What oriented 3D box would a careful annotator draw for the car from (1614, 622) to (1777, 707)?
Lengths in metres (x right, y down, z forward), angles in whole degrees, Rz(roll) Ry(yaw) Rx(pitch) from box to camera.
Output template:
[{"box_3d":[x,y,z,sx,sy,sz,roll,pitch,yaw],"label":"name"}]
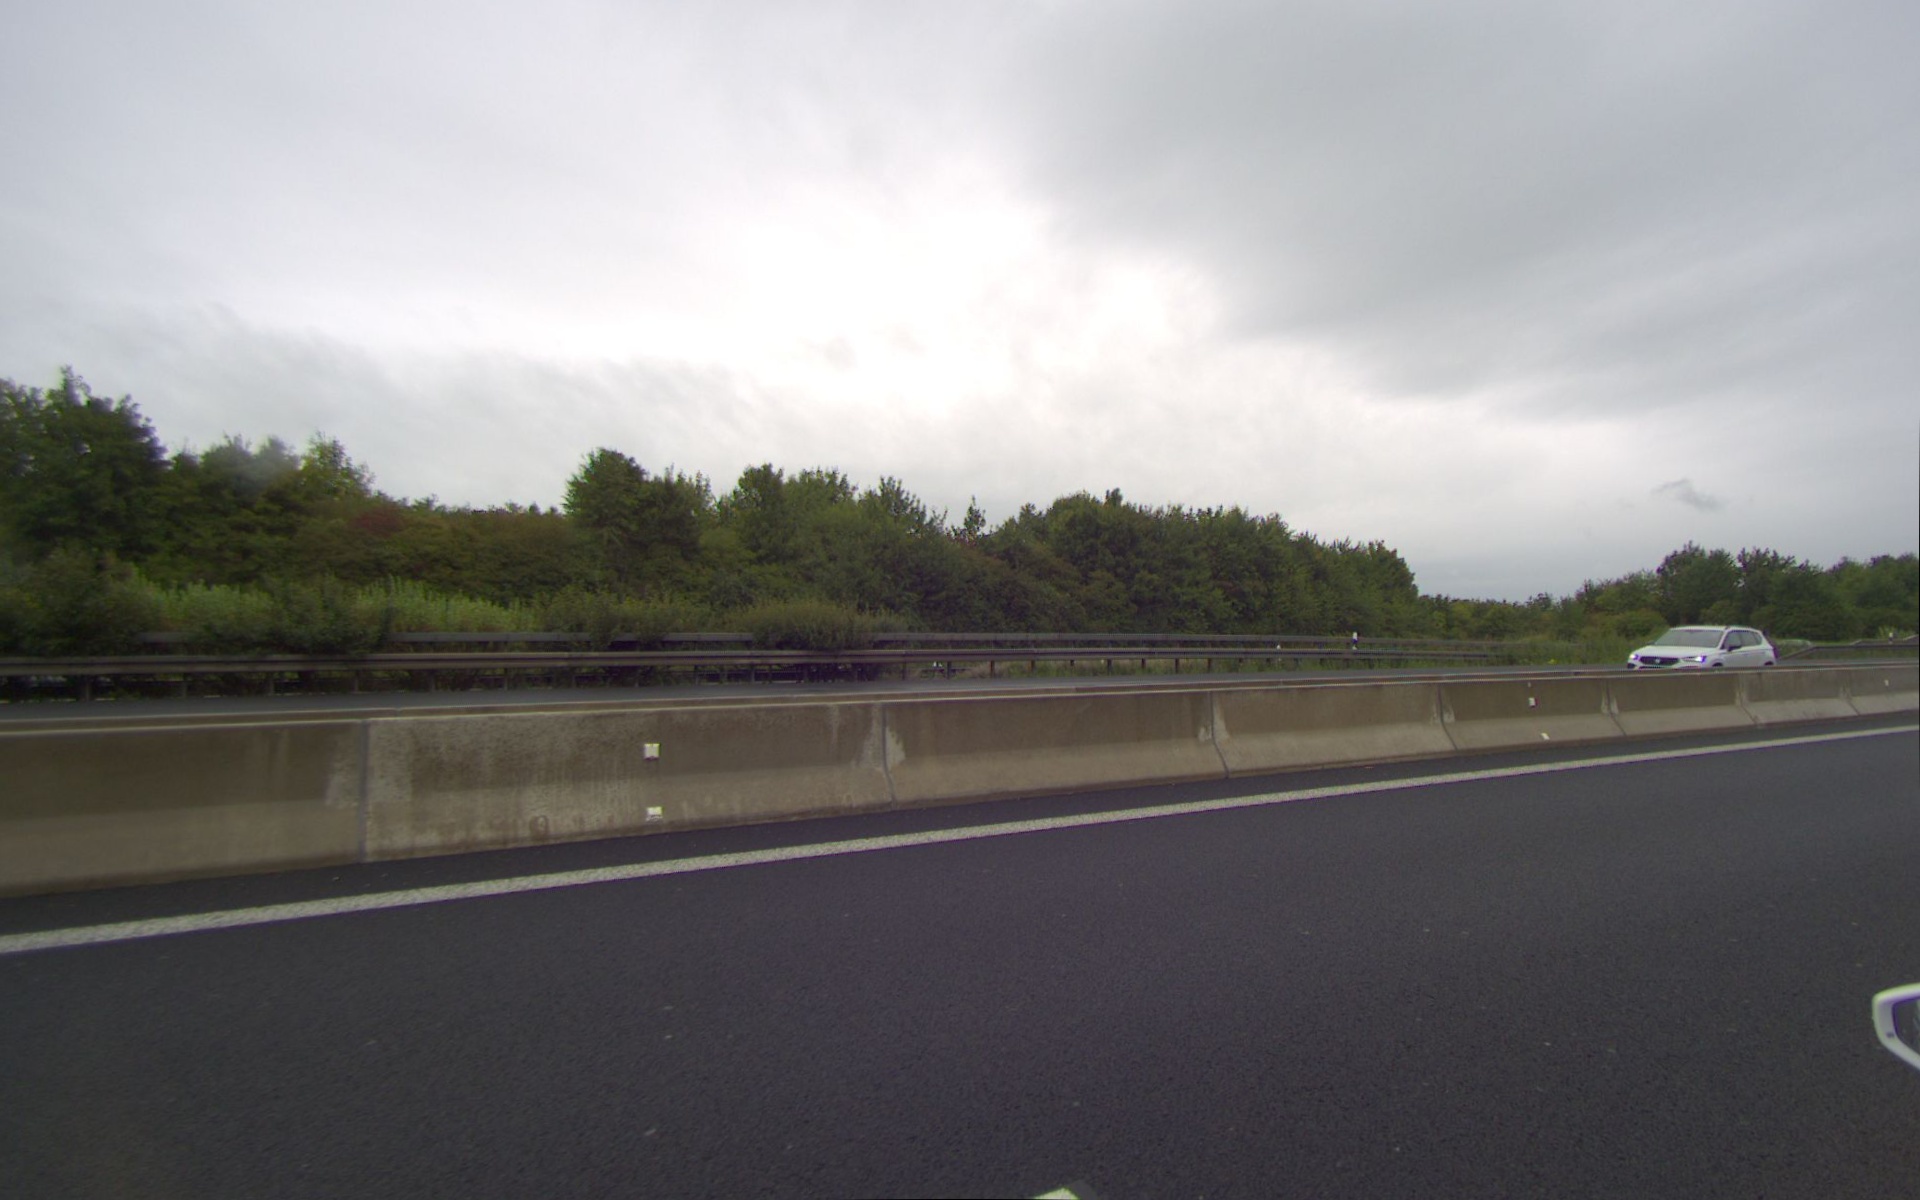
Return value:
[{"box_3d":[18.219,1.562,24.846,4.266,1.944,1.729,2,-2,-30],"label":"car"}]
